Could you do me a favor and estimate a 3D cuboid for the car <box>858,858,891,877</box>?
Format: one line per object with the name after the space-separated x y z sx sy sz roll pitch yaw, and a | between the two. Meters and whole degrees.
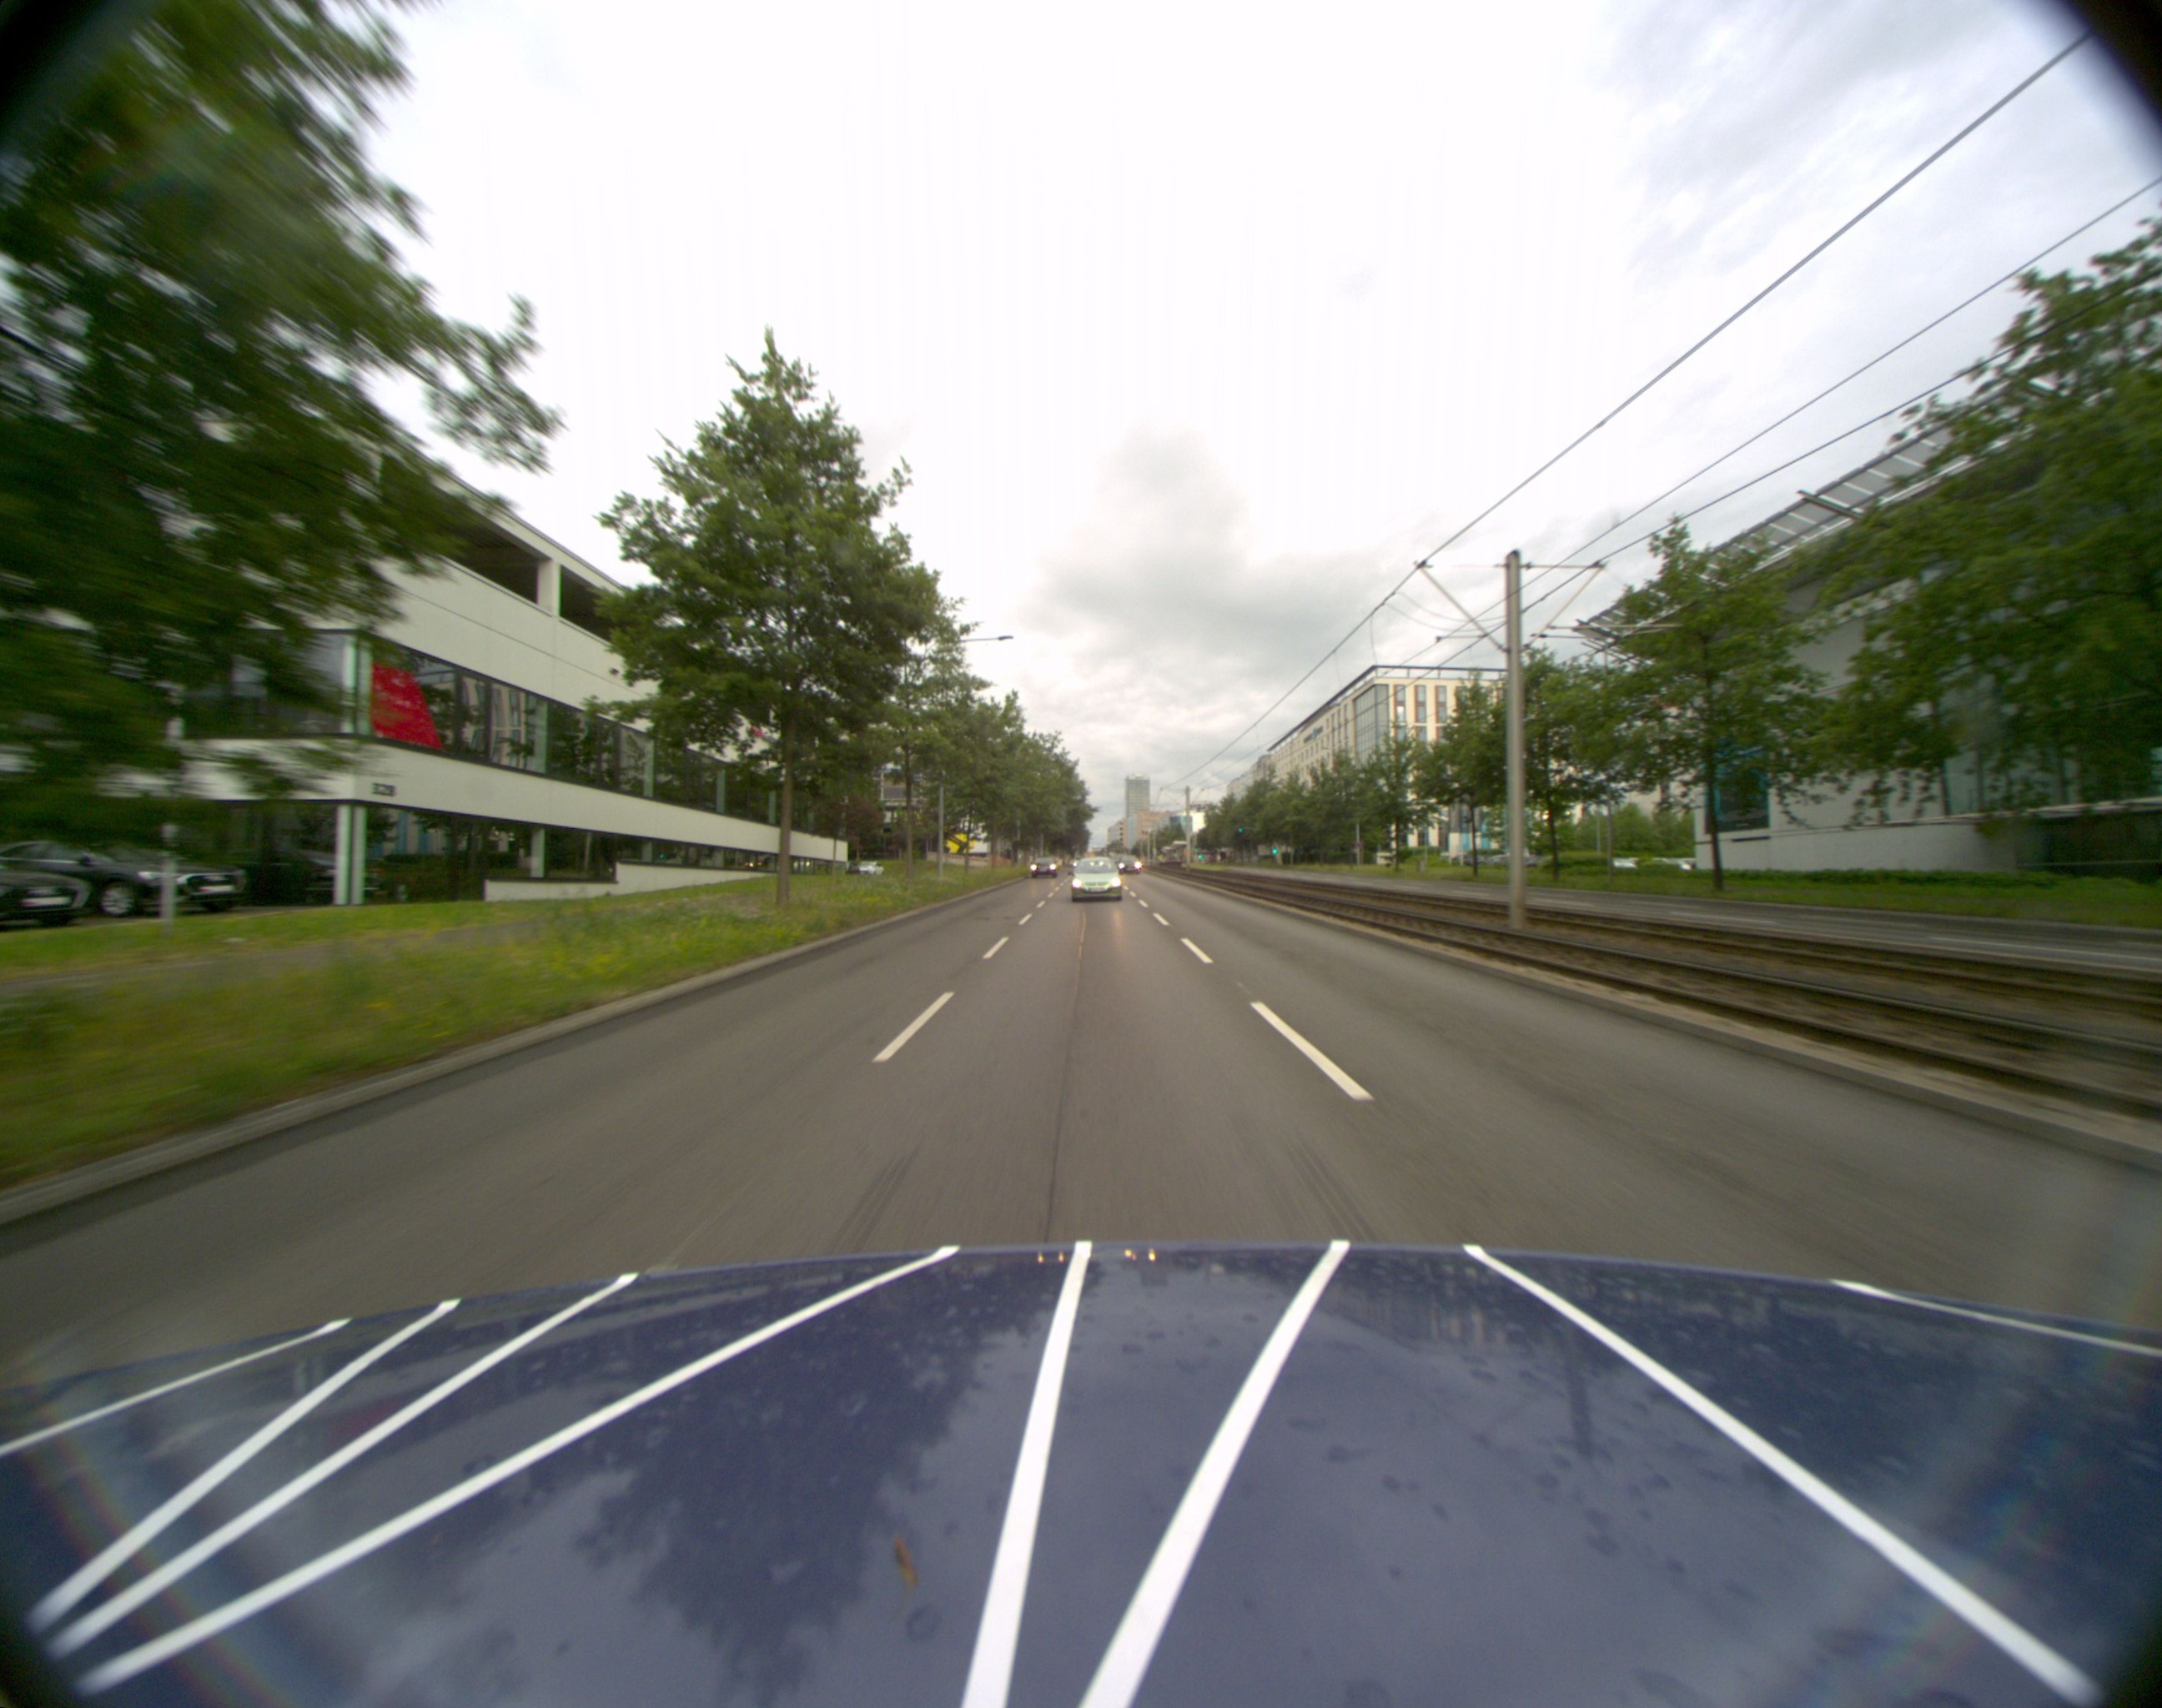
-18.964 1.217 69.857 1.702 1.476 4.461 -2 1 0 | car

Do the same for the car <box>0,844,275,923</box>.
-19.819 0.564 15.614 4.408 1.473 1.931 -1 1 0 | car

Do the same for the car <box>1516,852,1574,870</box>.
38.539 0.584 63.237 3.990 1.383 1.806 -2 1 28 | car

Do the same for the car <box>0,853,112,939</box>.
-19.464 0.675 12.592 4.330 1.370 1.836 0 1 -2 | car

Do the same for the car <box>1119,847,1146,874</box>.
4.132 0.460 61.382 1.998 2.002 4.000 -3 1 4 | car

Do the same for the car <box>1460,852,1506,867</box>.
39.871 0.548 75.383 3.990 1.383 1.806 -2 1 28 | car

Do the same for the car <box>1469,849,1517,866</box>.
39.208 0.341 72.355 3.990 1.383 1.806 -2 1 28 | car

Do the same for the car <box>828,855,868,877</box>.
-19.196 0.932 62.810 1.907 1.666 4.589 0 1 0 | car

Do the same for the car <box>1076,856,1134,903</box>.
0.943 0.866 27.138 1.828 1.499 4.116 -2 -1 4 | car

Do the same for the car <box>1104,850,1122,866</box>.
3.719 0.510 88.724 1.860 1.798 4.116 -2 -2 5 | car

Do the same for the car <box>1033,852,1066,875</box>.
-2.364 0.733 57.514 1.828 1.599 4.117 -2 -2 7 | car

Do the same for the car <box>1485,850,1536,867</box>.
39.076 0.413 69.259 3.990 1.383 1.767 -2 1 28 | car

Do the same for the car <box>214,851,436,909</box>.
-19.652 0.603 20.034 1.902 1.330 3.922 -1 1 0 | car

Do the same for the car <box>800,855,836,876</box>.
-21.787 0.913 62.994 1.702 1.666 3.641 1 1 0 | car

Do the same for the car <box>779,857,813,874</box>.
-26.359 1.053 70.488 1.702 1.476 3.641 -2 1 0 | car

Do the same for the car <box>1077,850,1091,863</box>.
0.426 0.368 117.674 1.860 1.798 4.116 -2 -2 3 | car
